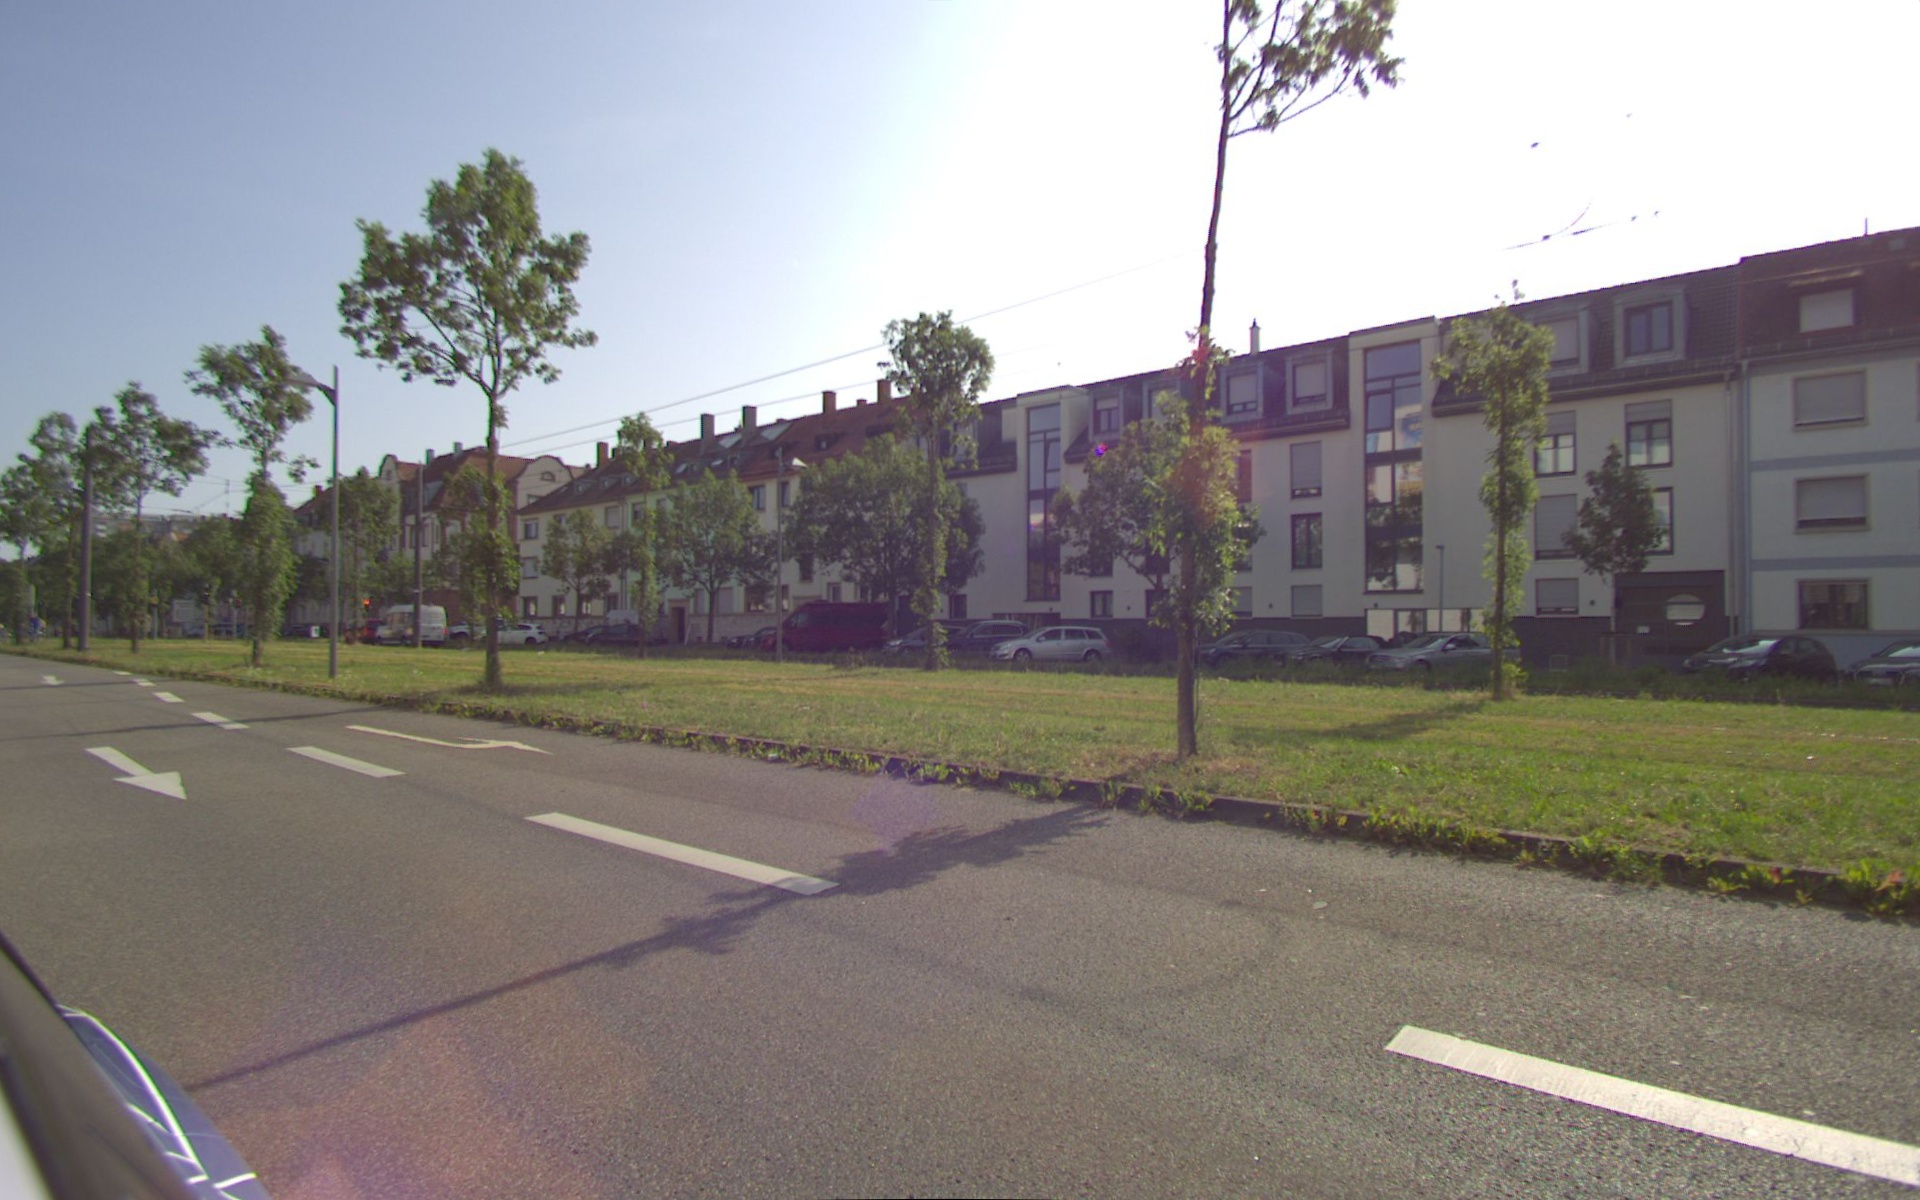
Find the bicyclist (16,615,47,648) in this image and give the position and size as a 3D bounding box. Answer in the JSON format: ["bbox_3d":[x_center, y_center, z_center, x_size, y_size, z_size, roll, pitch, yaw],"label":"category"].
[{"bbox_3d":[-53.852,1.824,58.687,1.168,1.864,0.913,0,-1,-32],"label":"bicyclist"}]

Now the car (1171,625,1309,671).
[{"bbox_3d":[8.883,1.489,32.136,3.930,1.386,1.842,1,-2,-23],"label":"car"}]

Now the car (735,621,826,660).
[{"bbox_3d":[-8.354,1.865,46.982,4.085,1.628,1.873,0,2,-11],"label":"car"}]

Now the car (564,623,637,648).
[{"bbox_3d":[-20.385,2.004,57.580,3.715,1.353,1.777,-1,-1,-12],"label":"car"}]

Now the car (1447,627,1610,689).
[{"bbox_3d":[14.359,1.413,25.578,3.715,1.386,1.670,-1,-1,-24],"label":"car"}]

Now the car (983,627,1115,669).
[{"bbox_3d":[3.178,1.686,36.118,4.324,1.330,1.739,-1,-1,-17],"label":"car"}]

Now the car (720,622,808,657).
[{"bbox_3d":[-9.488,1.898,48.964,4.085,1.520,1.873,0,2,-11],"label":"car"}]

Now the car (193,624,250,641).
[{"bbox_3d":[-77.206,3.387,105.913,4.423,1.617,2.006,-1,-1,-21],"label":"car"}]

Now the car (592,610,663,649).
[{"bbox_3d":[-22.337,1.947,67.792,5.576,2.482,1.973,-1,-1,42],"label":"car"}]

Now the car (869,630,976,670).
[{"bbox_3d":[-1.524,1.968,40.325,3.932,1.431,1.787,-1,-1,-15],"label":"car"}]

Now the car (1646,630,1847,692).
[{"bbox_3d":[17.957,1.333,23.127,3.930,1.298,2.006,1,-2,-24],"label":"car"}]

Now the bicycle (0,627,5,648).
[{"bbox_3d":[-53.095,2.045,55.220,0.567,1.154,1.757,0,-2,-12],"label":"bicycle"}]

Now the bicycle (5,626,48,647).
[{"bbox_3d":[-54.007,2.124,58.551,1.763,1.154,0.578,-1,-1,-33],"label":"bicycle"}]

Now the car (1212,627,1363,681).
[{"bbox_3d":[9.694,1.559,30.002,3.930,1.386,1.933,-1,-1,-23],"label":"car"}]

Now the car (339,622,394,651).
[{"bbox_3d":[-38.183,2.338,65.082,4.159,1.751,1.797,-1,-4,42],"label":"car"}]

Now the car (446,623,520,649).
[{"bbox_3d":[-30.768,2.316,65.366,4.031,1.541,1.817,-1,-1,-12],"label":"car"}]

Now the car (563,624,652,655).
[{"bbox_3d":[-19.129,2.156,55.096,4.279,1.541,2.004,-1,-1,-10],"label":"car"}]

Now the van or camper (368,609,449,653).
[{"bbox_3d":[-33.051,1.885,60.529,6.054,2.493,2.120,-1,-4,40],"label":"van or camper"}]

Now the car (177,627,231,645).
[{"bbox_3d":[-75.821,3.595,101.551,3.931,1.719,1.881,-1,-1,-21],"label":"car"}]

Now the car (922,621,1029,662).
[{"bbox_3d":[0.573,1.532,38.023,3.658,1.445,1.647,-1,-1,-17],"label":"car"}]

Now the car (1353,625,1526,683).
[{"bbox_3d":[13.237,1.449,27.943,4.264,1.386,2.007,-1,-1,-24],"label":"car"}]

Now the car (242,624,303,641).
[{"bbox_3d":[-64.691,3.087,95.290,4.438,1.451,2.006,-1,-1,-18],"label":"car"}]

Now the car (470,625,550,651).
[{"bbox_3d":[-28.249,2.397,63.606,4.294,1.486,1.862,-1,-1,-12],"label":"car"}]

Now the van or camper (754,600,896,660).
[{"bbox_3d":[-6.026,1.328,45.012,6.060,2.566,2.420,0,-2,-12],"label":"van or camper"}]

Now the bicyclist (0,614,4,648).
[{"bbox_3d":[-53.118,1.692,55.299,0.893,1.836,0.873,0,-2,-13],"label":"bicyclist"}]

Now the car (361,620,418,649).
[{"bbox_3d":[-52.484,3.151,93.099,6.500,2.583,2.325,-1,-1,39],"label":"car"}]

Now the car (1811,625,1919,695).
[{"bbox_3d":[20.499,1.227,21.614,3.930,1.298,2.007,-1,-1,-24],"label":"car"}]
